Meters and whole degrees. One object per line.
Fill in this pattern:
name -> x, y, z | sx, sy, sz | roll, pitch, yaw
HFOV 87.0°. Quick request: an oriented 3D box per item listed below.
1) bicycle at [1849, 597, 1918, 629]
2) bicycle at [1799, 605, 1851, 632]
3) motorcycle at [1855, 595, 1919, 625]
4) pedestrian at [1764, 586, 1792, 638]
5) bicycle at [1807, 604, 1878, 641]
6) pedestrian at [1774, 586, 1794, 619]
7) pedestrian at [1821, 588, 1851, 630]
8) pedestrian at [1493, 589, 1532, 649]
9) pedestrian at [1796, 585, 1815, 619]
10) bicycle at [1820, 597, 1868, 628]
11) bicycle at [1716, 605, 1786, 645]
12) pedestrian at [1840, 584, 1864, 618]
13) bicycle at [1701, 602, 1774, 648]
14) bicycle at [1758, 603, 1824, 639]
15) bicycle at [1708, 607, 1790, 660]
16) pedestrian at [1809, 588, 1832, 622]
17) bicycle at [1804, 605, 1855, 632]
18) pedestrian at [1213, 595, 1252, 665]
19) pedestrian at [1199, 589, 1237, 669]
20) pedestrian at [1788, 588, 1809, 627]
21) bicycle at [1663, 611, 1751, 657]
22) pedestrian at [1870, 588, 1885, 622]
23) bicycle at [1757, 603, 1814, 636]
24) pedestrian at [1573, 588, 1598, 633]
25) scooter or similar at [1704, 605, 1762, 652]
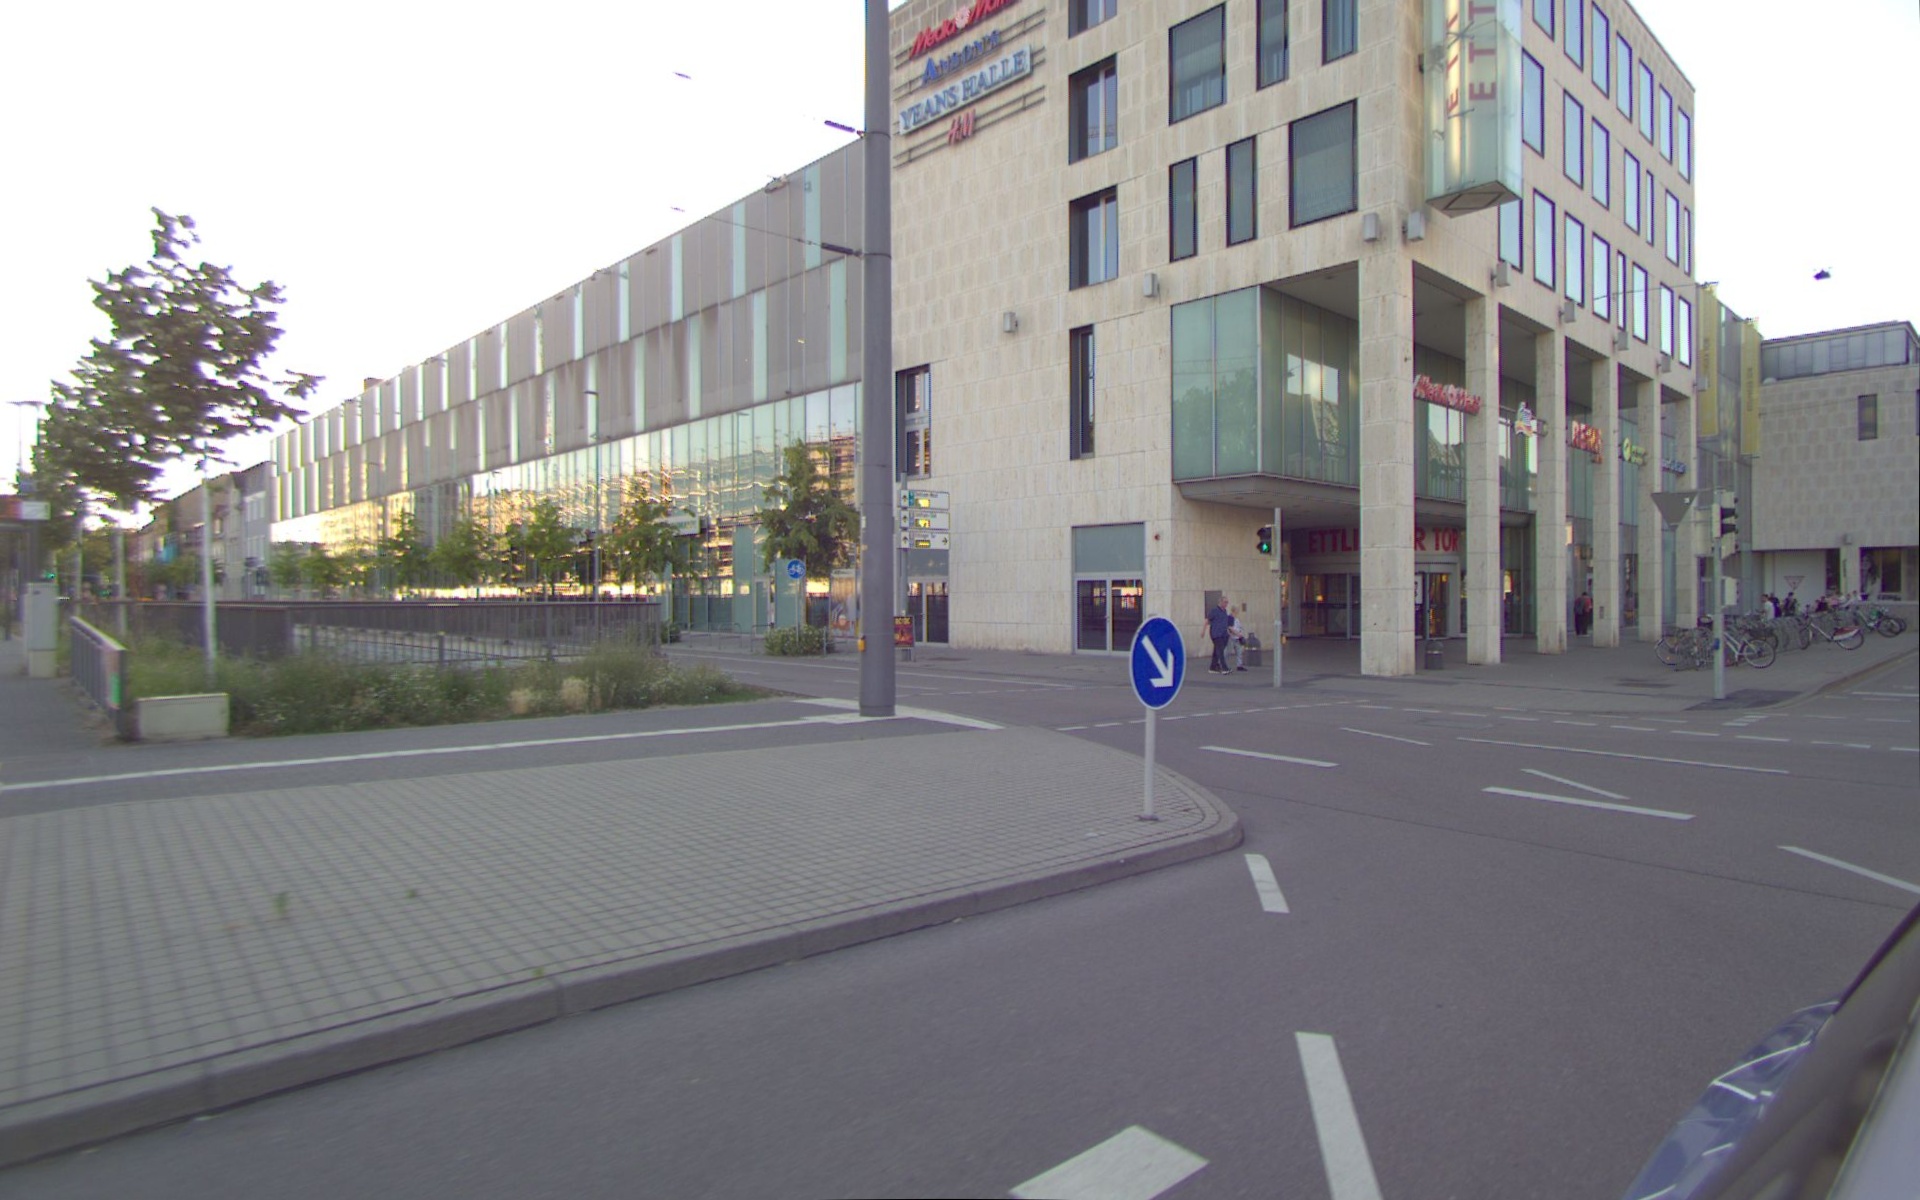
bicycle -> 34.733, 0.491, 38.070 | 0.458, 1.162, 1.836 | 0, -2, -40
bicycle -> 31.146, 0.664, 36.458 | 0.509, 0.944, 1.343 | 0, -2, -42
motorcycle -> 38.667, 0.406, 42.172 | 0.473, 1.239, 2.003 | 0, 1, -44
pedestrian -> 27.276, 0.388, 33.738 | 0.705, 1.713, 0.620 | 0, 0, 41
bicycle -> 26.539, 0.695, 30.450 | 0.458, 1.077, 1.517 | 0, -2, -40
pedestrian -> 42.341, 0.104, 51.987 | 0.738, 1.668, 0.808 | 0, 0, 42
pedestrian -> 35.611, 0.356, 41.128 | 0.801, 1.663, 0.640 | 0, 0, 30
pedestrian -> 15.566, 0.514, 28.520 | 0.696, 1.659, 0.792 | 0, 0, -41
pedestrian -> 42.933, 0.103, 51.377 | 0.696, 1.717, 0.807 | 0, 0, 43
bicycle -> 34.533, 0.502, 39.541 | 0.509, 1.179, 1.343 | 0, -2, -42
bicycle -> 23.253, 0.748, 29.761 | 0.543, 1.120, 1.515 | 0, -2, -44
pedestrian -> 45.865, 0.045, 52.034 | 0.924, 1.765, 0.793 | 0, 0, -39
bicycle -> 22.045, 0.716, 28.728 | 0.607, 1.243, 1.516 | 0, -2, -42
bicycle -> 26.655, 0.684, 32.471 | 0.570, 1.138, 1.518 | 0, -2, -38
bicycle -> 18.991, 0.795, 24.380 | 0.538, 1.198, 1.484 | 0, 1, -36
pedestrian -> 45.088, 0.257, 53.015 | 0.645, 1.765, 0.793 | 0, 0, -39
bicycle -> 31.649, 0.663, 36.848 | 0.509, 0.944, 1.343 | 0, -2, -42
pedestrian -> 6.284, 0.679, 23.317 | 0.664, 1.565, 0.716 | 0, 0, 37
pedestrian -> 5.791, 0.636, 22.730 | 0.664, 1.747, 0.582 | 0, 0, 37
pedestrian -> 39.369, 0.361, 47.523 | 0.798, 1.803, 0.619 | 0, 0, -39
bicycle -> 18.842, 0.840, 25.556 | 1.767, 1.092, 0.475 | 1, 1, 42
pedestrian -> 47.898, 0.235, 52.846 | 0.484, 1.765, 0.516 | 0, 0, -39
bicycle -> 28.248, 0.684, 34.643 | 1.439, 1.078, 0.572 | -3, -2, 38
pedestrian -> 23.650, 0.378, 38.274 | 0.695, 1.673, 0.628 | 0, 0, -41
scooter or similar -> 20.855, 0.748, 27.318 | 1.194, 1.214, 0.485 | 0, 0, 45
